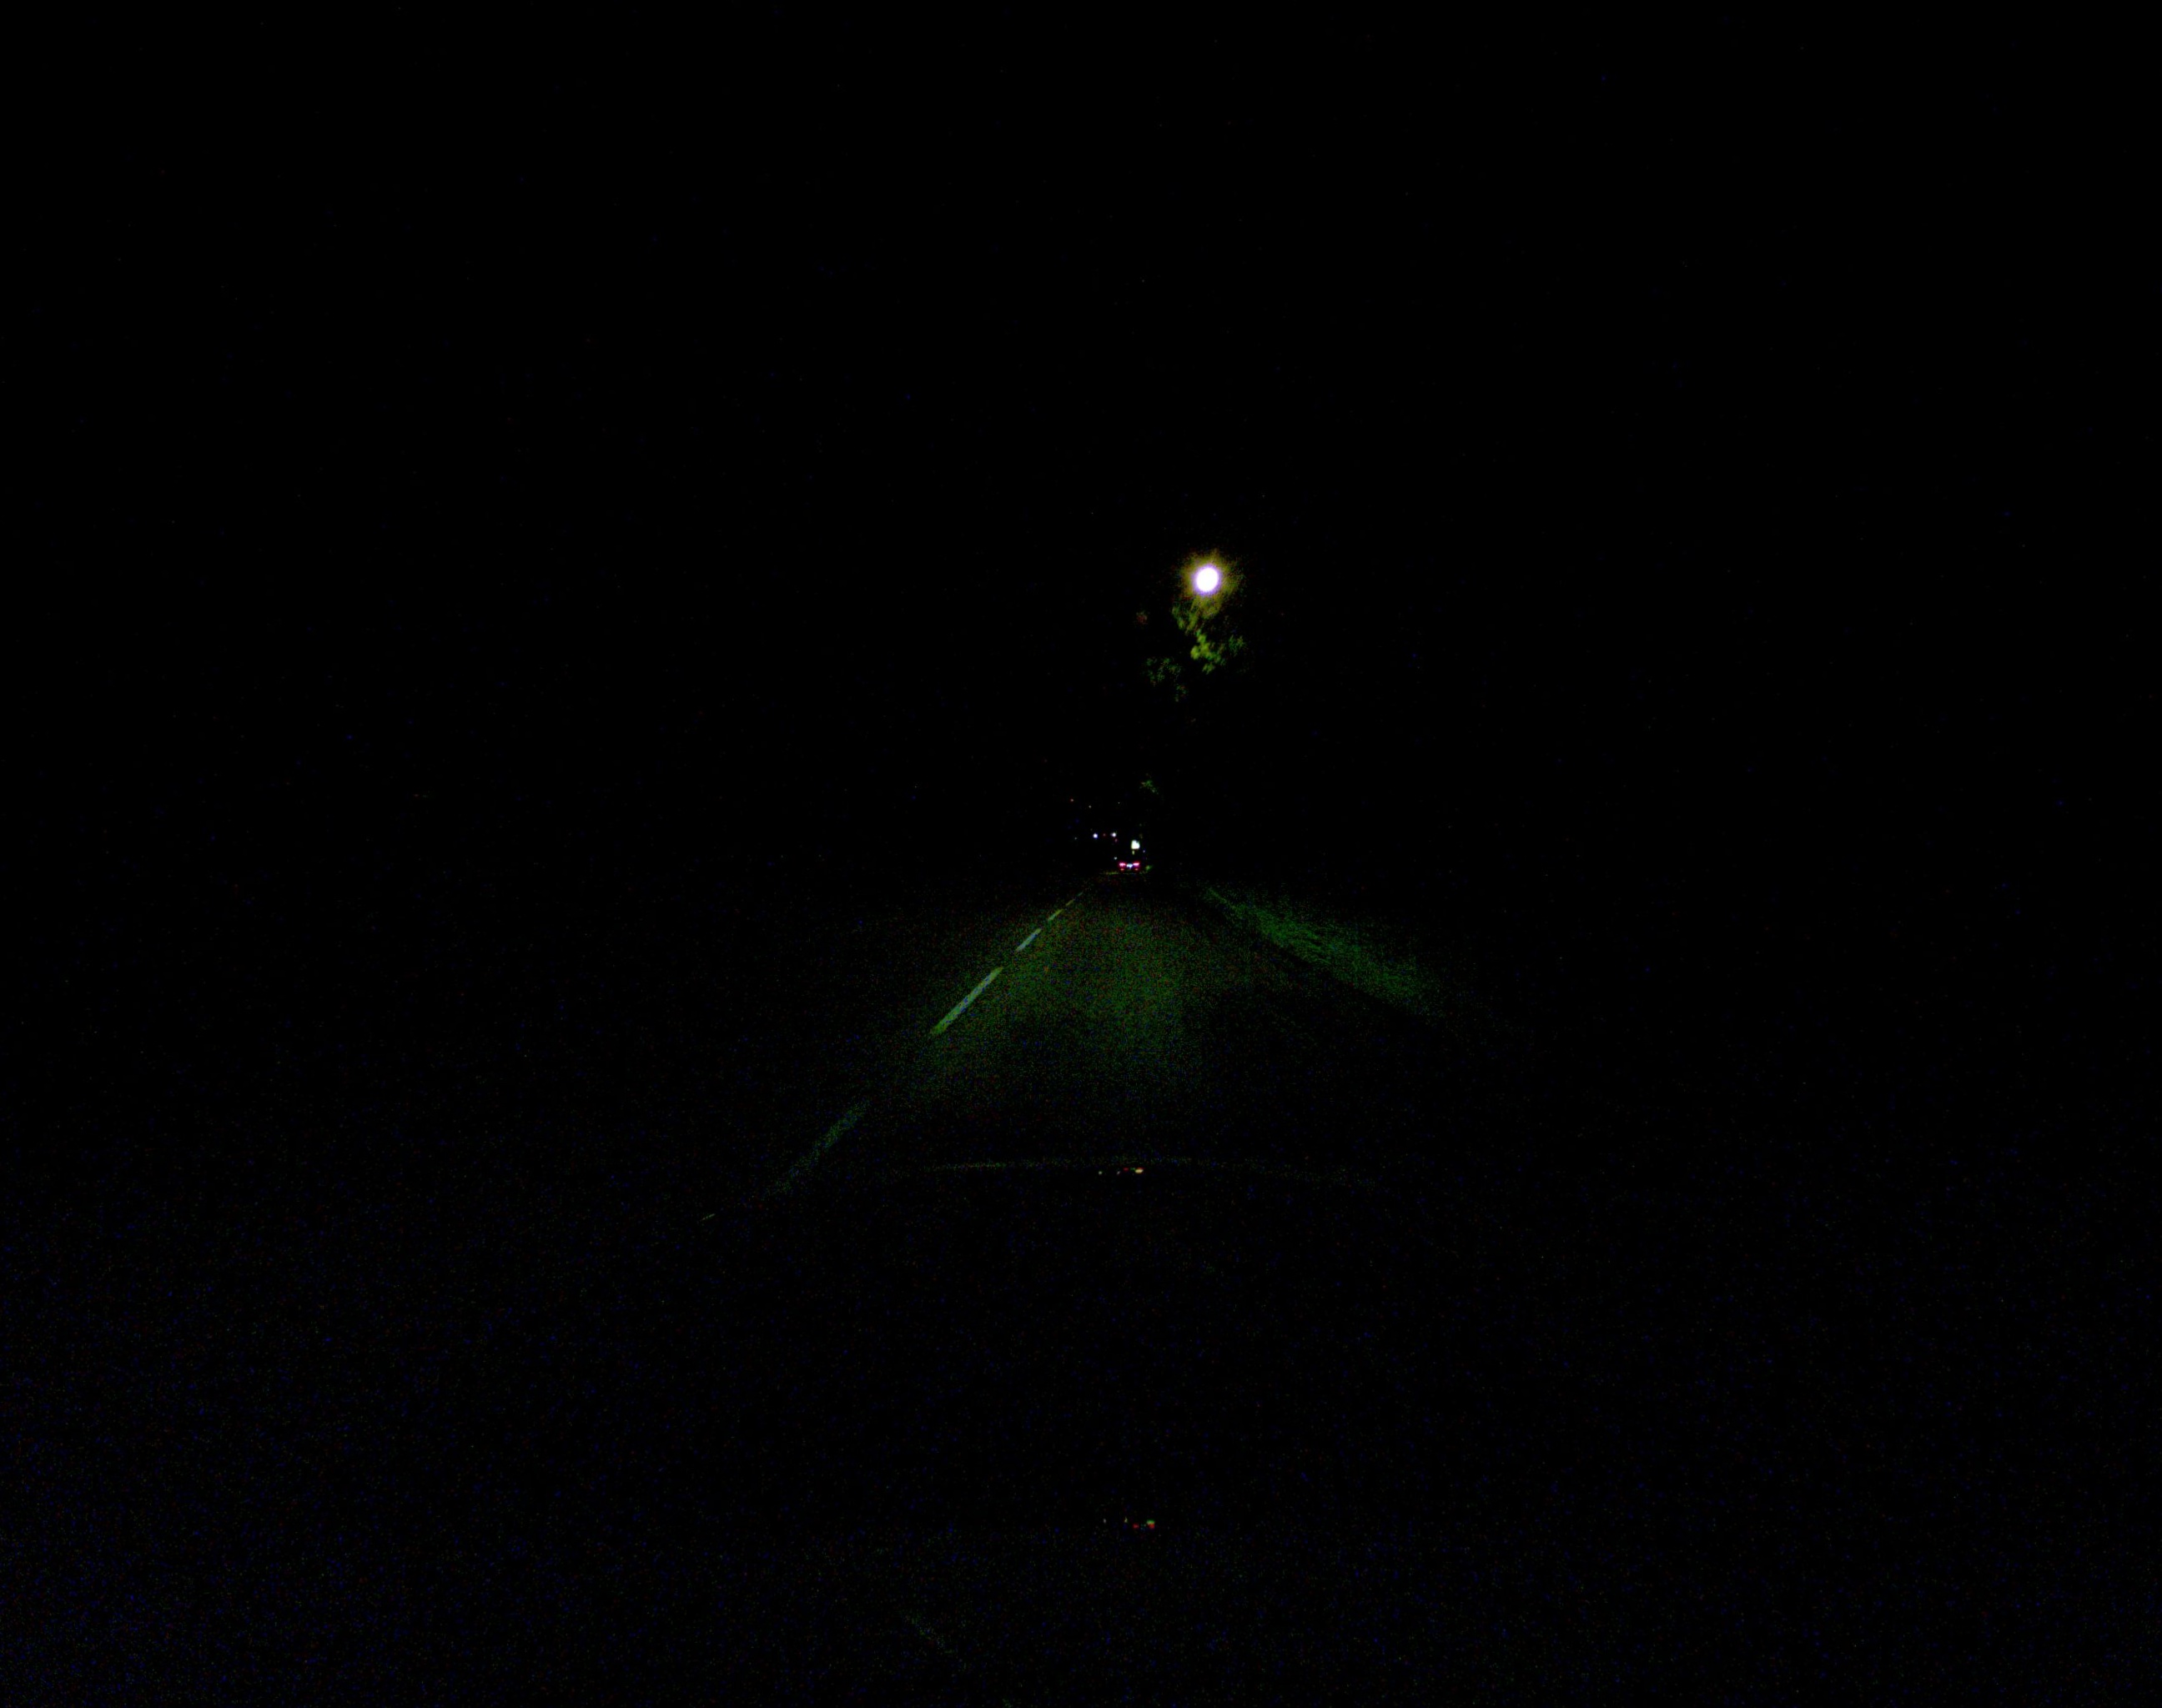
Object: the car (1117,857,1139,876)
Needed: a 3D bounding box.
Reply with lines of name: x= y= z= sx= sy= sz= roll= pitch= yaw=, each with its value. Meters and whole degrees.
car: x=4.277 y=1.103 z=74.519 sx=1.758 sy=1.642 sz=3.720 roll=-1 pitch=0 yaw=-1
